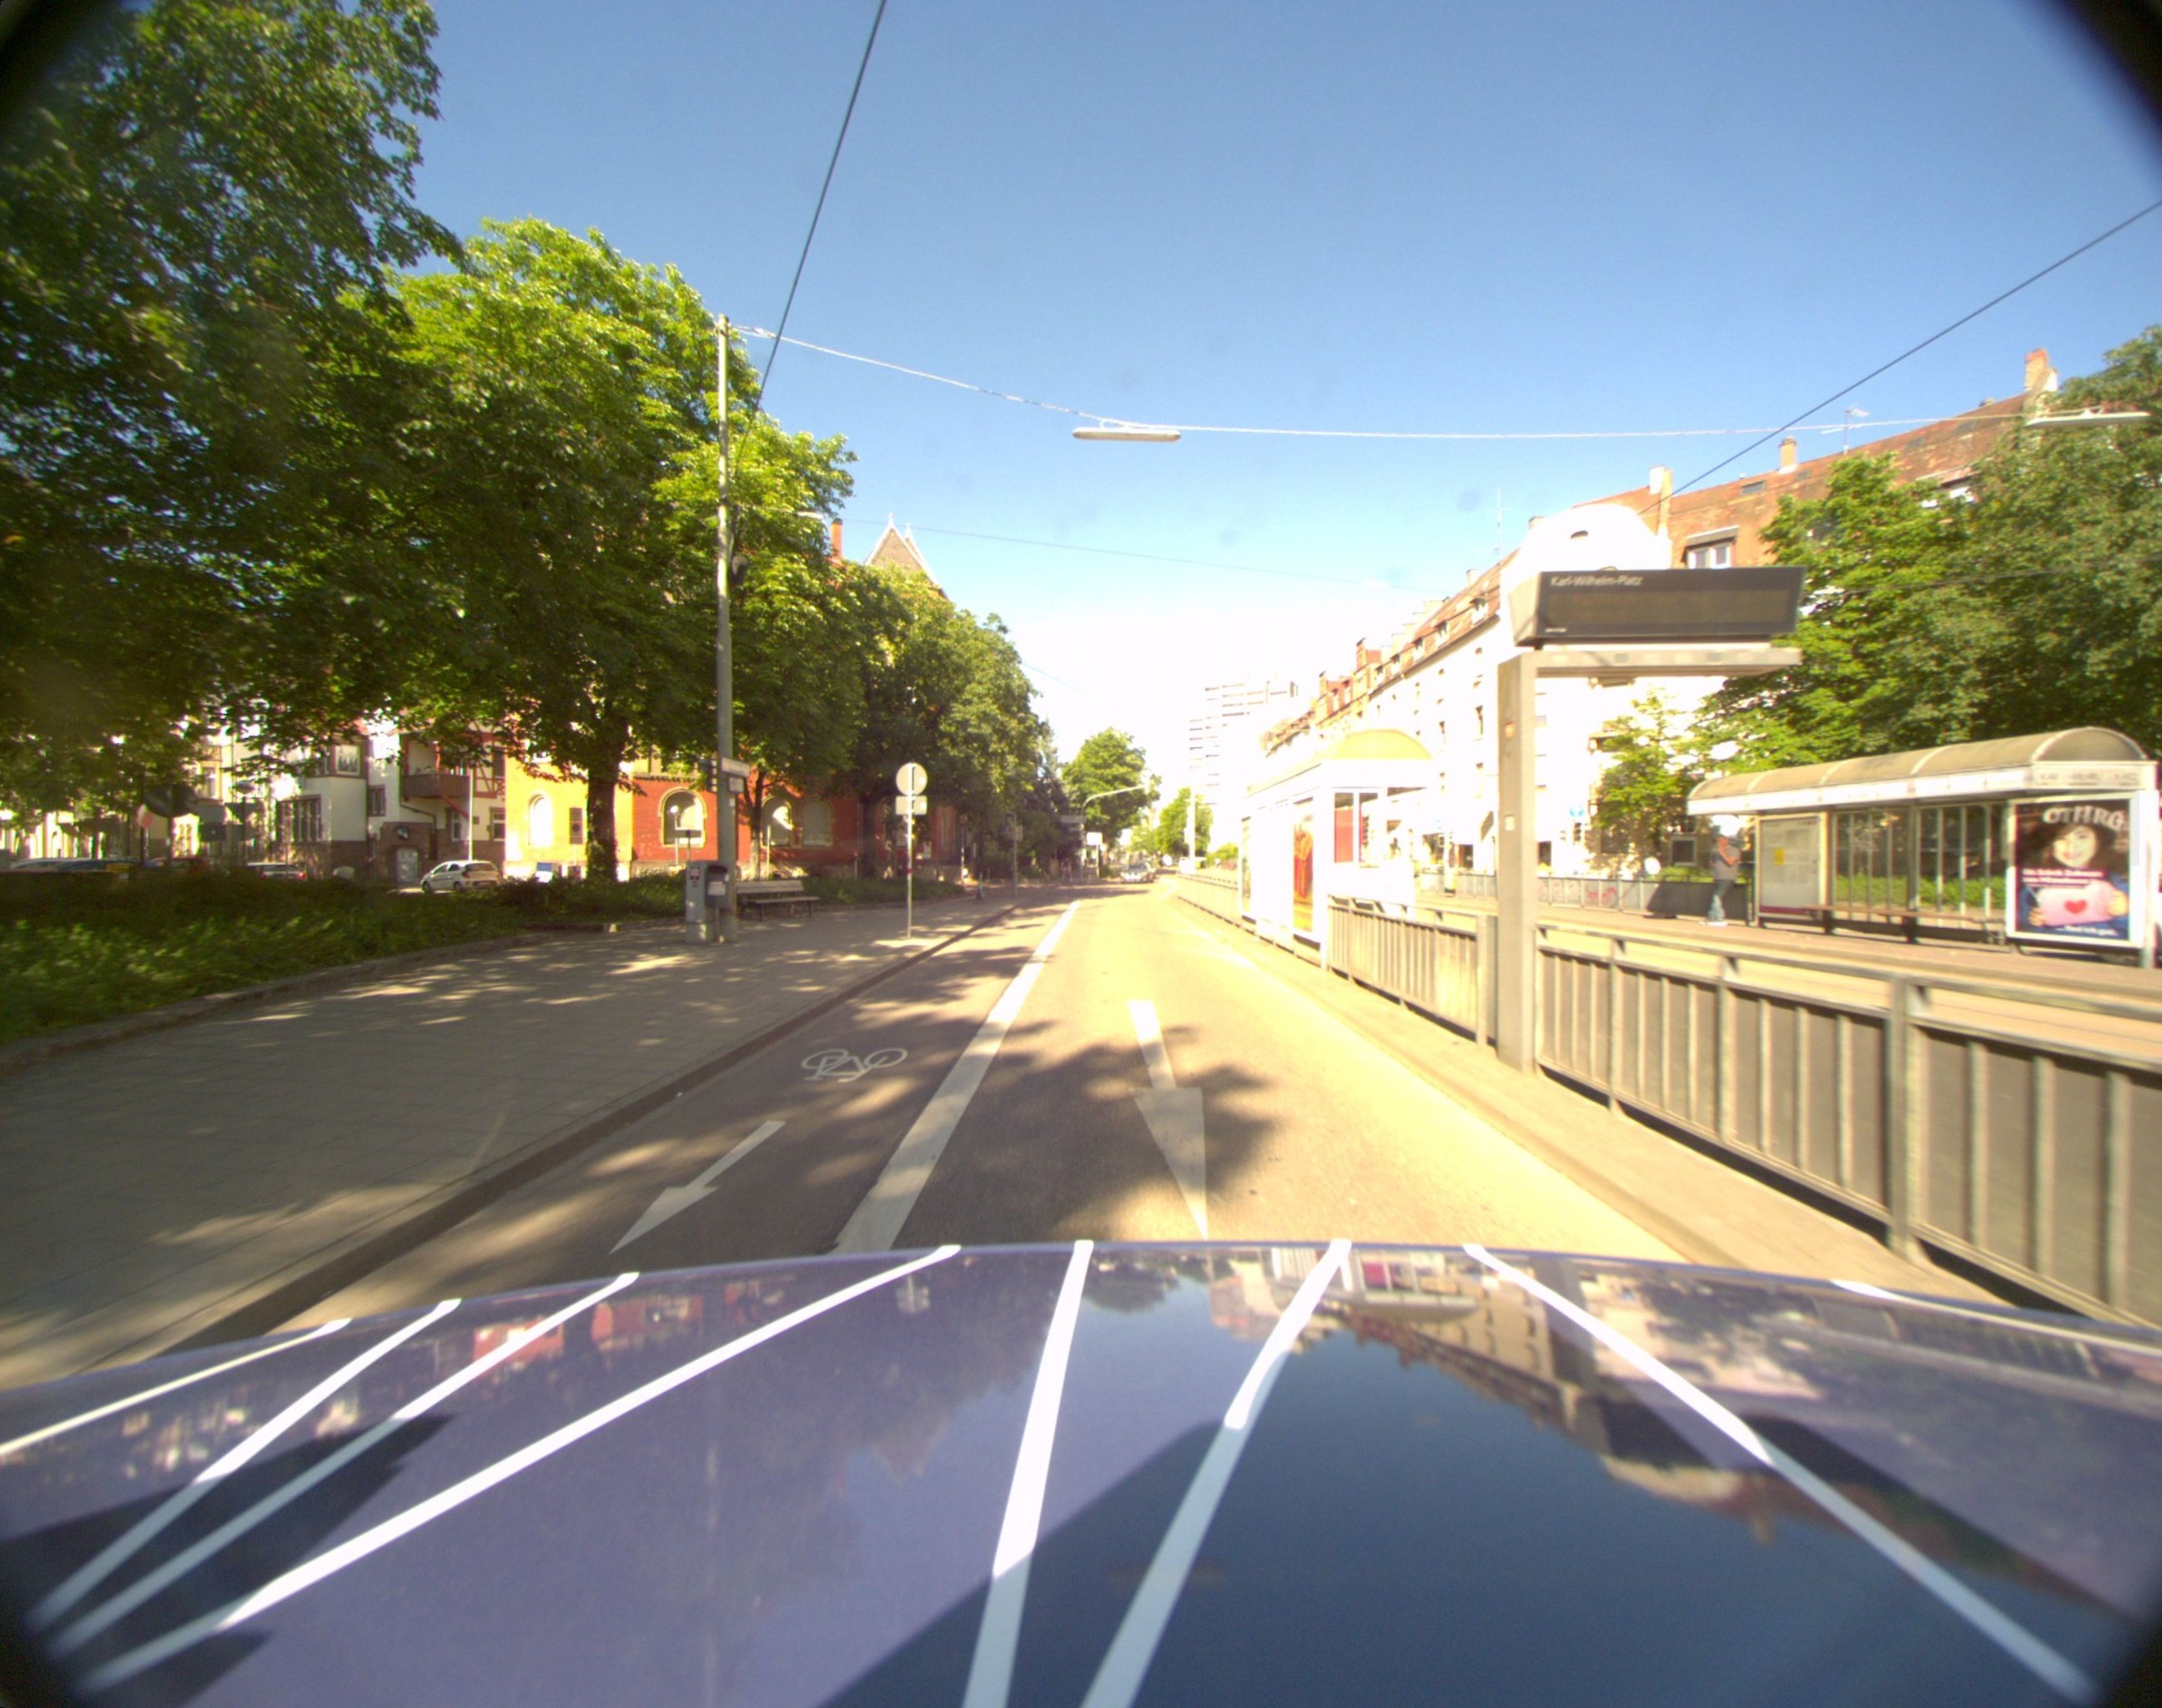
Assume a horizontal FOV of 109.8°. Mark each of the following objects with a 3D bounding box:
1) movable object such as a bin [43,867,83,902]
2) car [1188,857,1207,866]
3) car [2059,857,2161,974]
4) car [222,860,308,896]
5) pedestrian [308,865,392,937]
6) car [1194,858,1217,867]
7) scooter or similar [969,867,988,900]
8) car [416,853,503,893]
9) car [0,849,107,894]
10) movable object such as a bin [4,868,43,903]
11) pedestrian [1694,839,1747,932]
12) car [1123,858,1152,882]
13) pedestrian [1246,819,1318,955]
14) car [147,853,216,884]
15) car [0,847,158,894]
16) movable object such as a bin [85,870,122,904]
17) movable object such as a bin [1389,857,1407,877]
[{"bbox_3d":[-29.058,0.860,21.685,0.641,0.959,0.583,-1,1,29],"label":"movable object such as a bin"},{"bbox_3d":[19.320,1.252,125.997,3.229,1.412,1.565,-2,0,-45],"label":"car"},{"bbox_3d":[15.019,0.829,9.152,1.694,1.531,3.800,1,0,5],"label":"car"},{"bbox_3d":[-35.518,1.043,33.073,3.539,1.449,1.638,-1,0,27],"label":"car"},{"bbox_3d":[-13.193,0.827,13.745,0.450,1.224,1.041,-1,0,3],"label":"pedestrian"},{"bbox_3d":[19.910,1.313,121.781,3.214,1.412,1.572,-1,0,34],"label":"car"},{"bbox_3d":[-3.956,1.147,29.448,0.519,1.241,1.276,0,-2,3],"label":"scooter or similar"},{"bbox_3d":[-27.946,0.847,34.139,3.794,1.707,1.638,-1,0,28],"label":"car"},{"bbox_3d":[-37.016,0.599,26.546,1.496,1.510,3.353,-1,0,20],"label":"car"},{"bbox_3d":[-29.359,0.870,21.101,0.641,0.959,0.544,-1,1,29],"label":"movable object such as a bin"},{"bbox_3d":[12.464,0.603,14.821,0.466,1.774,0.673,0,1,1],"label":"pedestrian"},{"bbox_3d":[3.577,1.015,48.444,1.725,1.390,3.613,-2,0,3],"label":"car"},{"bbox_3d":[2.896,0.466,11.012,0.773,1.861,0.895,-3,0,4],"label":"pedestrian"},{"bbox_3d":[-53.706,0.875,45.370,3.794,1.707,1.637,-1,0,24],"label":"car"},{"bbox_3d":[-34.520,0.532,26.034,1.496,1.510,3.353,-1,0,20],"label":"car"},{"bbox_3d":[-28.713,0.955,22.319,0.641,0.959,0.544,-1,1,29],"label":"movable object such as a bin"},{"bbox_3d":[22.061,0.894,52.891,0.878,1.301,0.748,-2,0,-4],"label":"movable object such as a bin"}]
